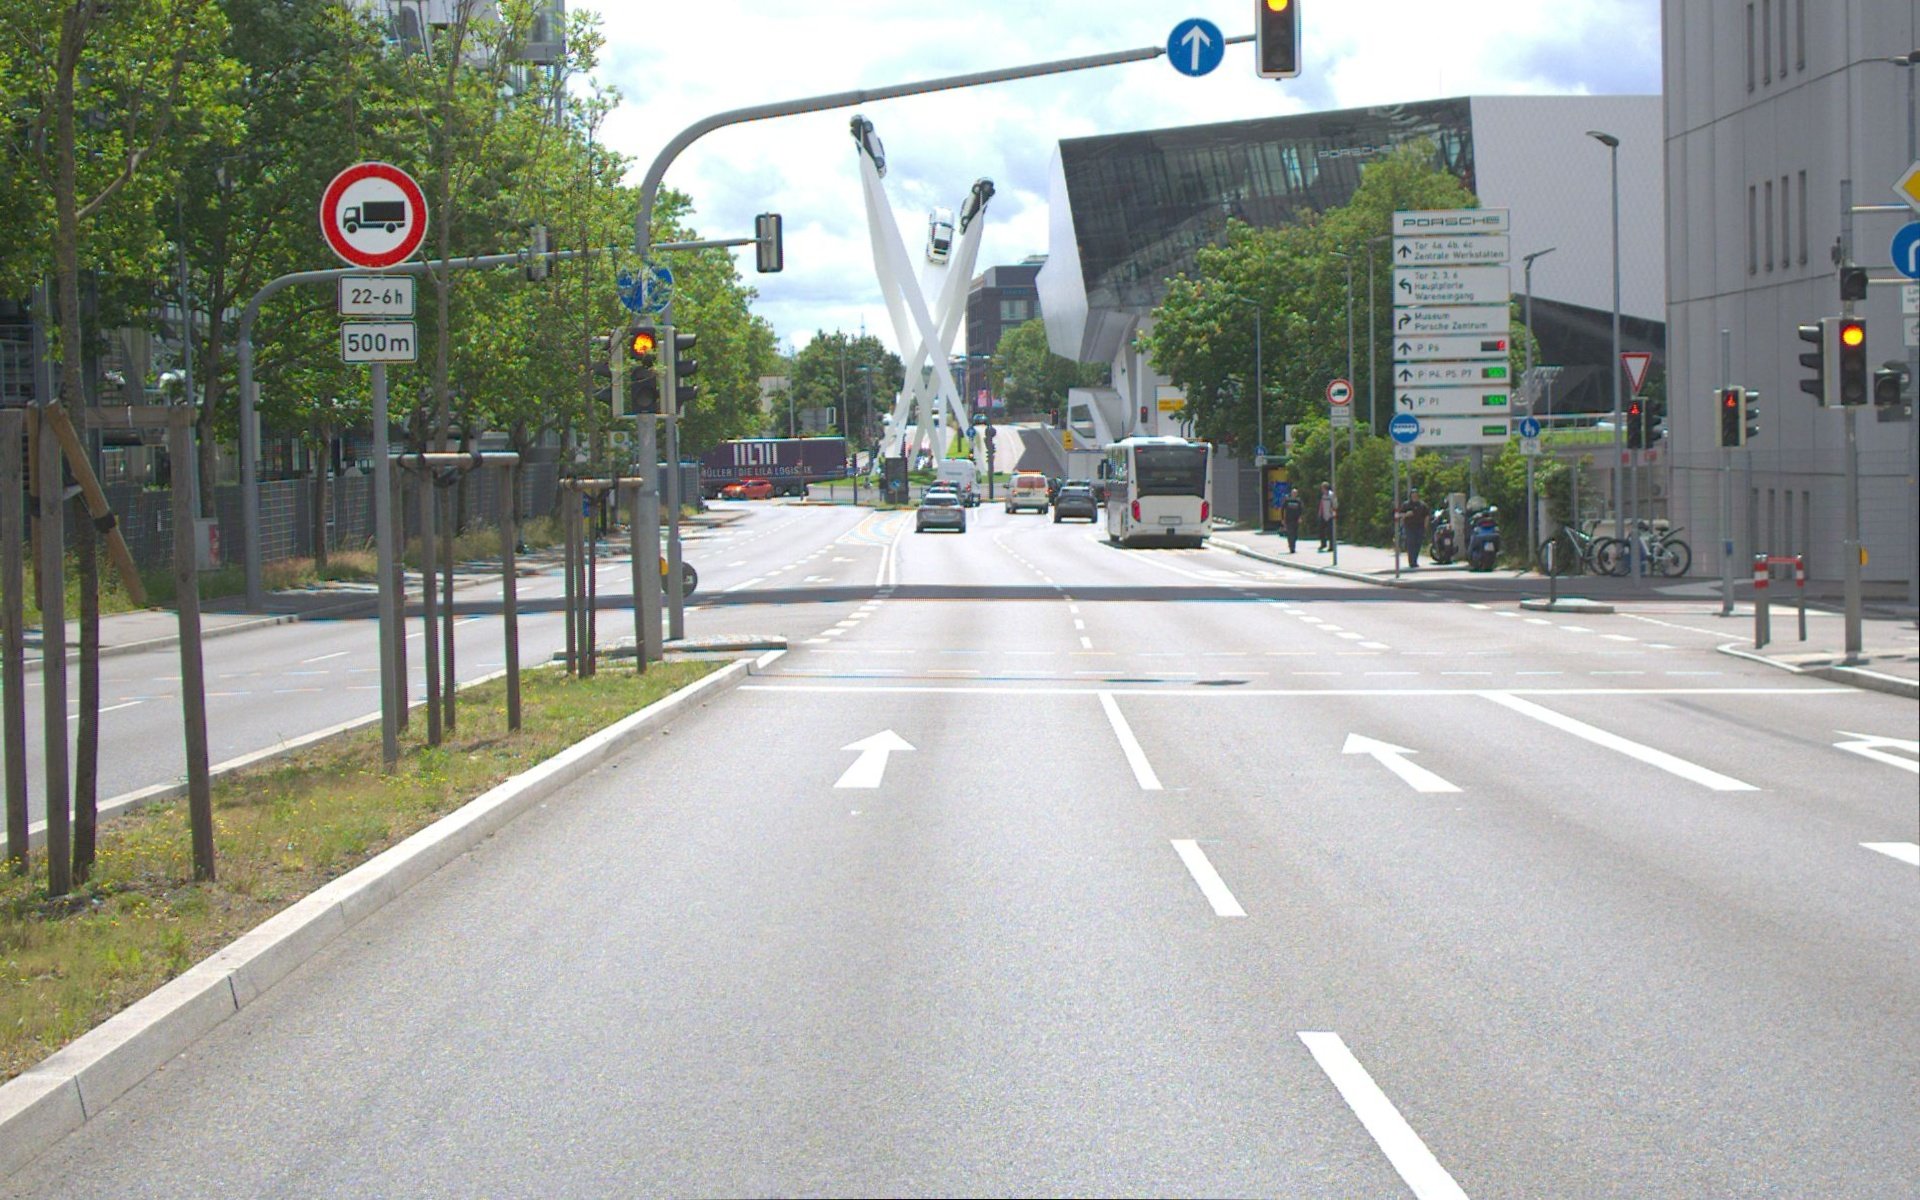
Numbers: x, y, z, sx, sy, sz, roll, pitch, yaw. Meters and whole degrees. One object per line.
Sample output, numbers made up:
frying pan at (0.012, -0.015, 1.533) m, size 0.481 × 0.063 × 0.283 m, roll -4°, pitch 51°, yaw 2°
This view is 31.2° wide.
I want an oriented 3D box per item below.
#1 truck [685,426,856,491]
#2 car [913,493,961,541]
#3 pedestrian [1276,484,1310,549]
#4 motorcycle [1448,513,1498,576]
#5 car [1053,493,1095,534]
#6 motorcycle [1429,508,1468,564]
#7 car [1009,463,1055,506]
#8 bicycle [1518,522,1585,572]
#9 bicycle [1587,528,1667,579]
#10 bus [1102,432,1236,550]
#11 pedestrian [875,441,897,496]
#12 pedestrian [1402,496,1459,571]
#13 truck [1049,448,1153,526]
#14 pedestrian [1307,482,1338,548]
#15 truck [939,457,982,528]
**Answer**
truck at (-13.859, -10.326, 252.066) m, size 12.126 × 4.309 × 3.575 m, roll 1°, pitch 0°, yaw -29°
car at (-0.844, -3.070, 127.445) m, size 1.738 × 1.735 × 3.691 m, roll 0°, pitch 1°, yaw 1°
pedestrian at (8.785, -2.197, 90.664) m, size 0.820 × 1.701 × 0.881 m, roll 0°, pitch 1°, yaw 1°
motorcycle at (10.395, -1.138, 69.699) m, size 0.706 × 1.199 × 2.024 m, roll -2°, pitch 2°, yaw 1°
car at (4.903, -3.727, 148.016) m, size 1.738 × 1.735 × 3.691 m, roll 0°, pitch 1°, yaw 1°
motorcycle at (11.024, -1.443, 77.577) m, size 0.574 × 1.199 × 2.024 m, roll -2°, pitch 2°, yaw 1°
car at (3.618, -5.808, 173.284) m, size 1.993 × 2.007 × 4.000 m, roll 1°, pitch 0°, yaw -2°
bicycle at (11.328, -1.021, 65.922) m, size 0.397 × 0.933 × 1.929 m, roll 0°, pitch 2°, yaw -18°
bicycle at (12.333, -0.869, 63.619) m, size 0.397 × 0.933 × 1.929 m, roll 0°, pitch 2°, yaw -25°
bus at (6.462, -3.399, 108.032) m, size 3.452 × 3.531 × 10.607 m, roll 0°, pitch 1°, yaw -1°
pedestrian at (-4.876, -8.618, 226.079) m, size 1.416 × 3.588 × 1.283 m, roll 0°, pitch 1°, yaw -1°
pedestrian at (10.235, -1.449, 74.778) m, size 0.849 × 1.619 × 0.954 m, roll 1°, pitch 2°, yaw 42°
truck at (8.114, -6.418, 196.379) m, size 3.455 × 4.376 × 9.412 m, roll 1°, pitch 2°, yaw 18°
pedestrian at (9.478, -2.225, 89.945) m, size 0.635 × 1.735 × 0.823 m, roll 0°, pitch 1°, yaw -5°
truck at (0.051, -5.984, 192.260) m, size 2.392 × 3.884 × 6.177 m, roll 0°, pitch 1°, yaw 1°
